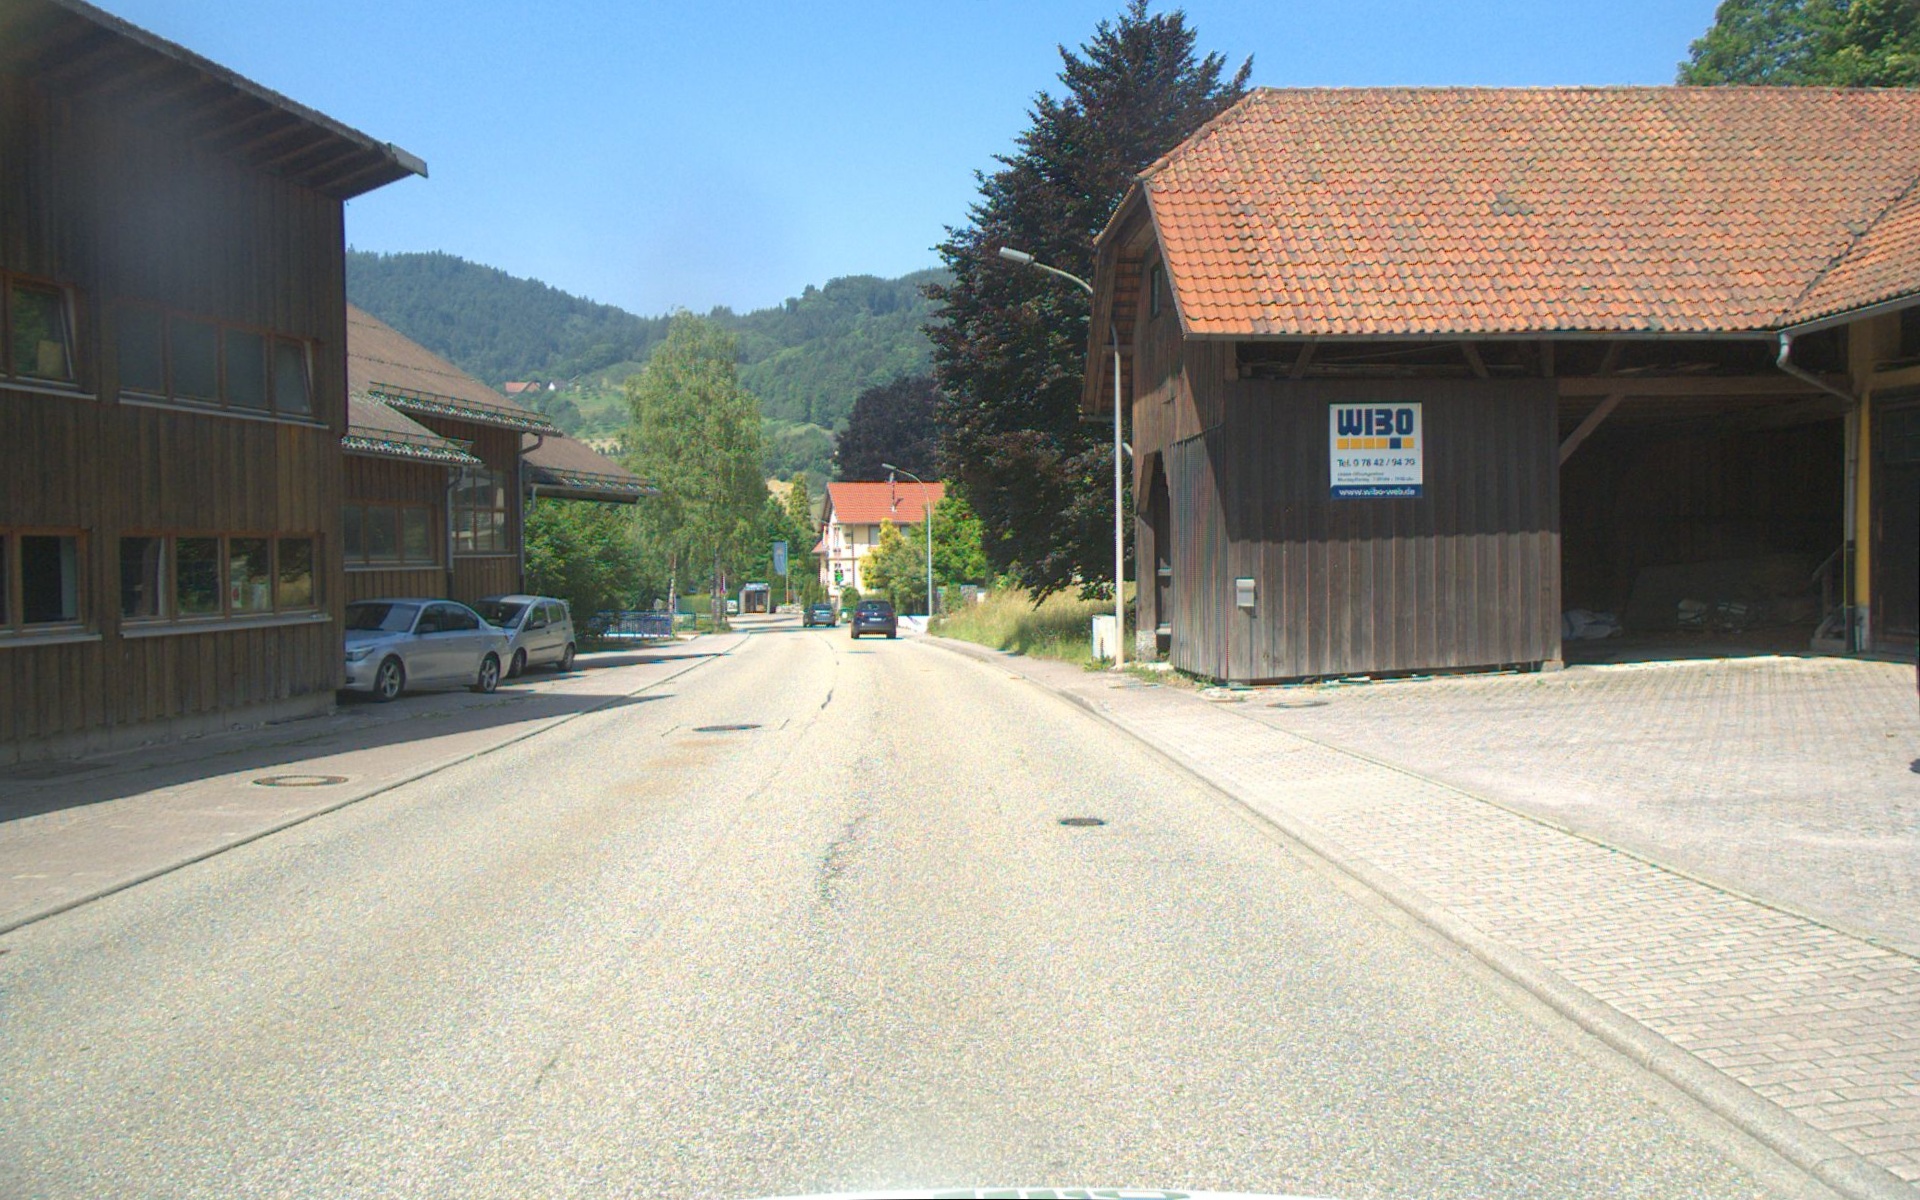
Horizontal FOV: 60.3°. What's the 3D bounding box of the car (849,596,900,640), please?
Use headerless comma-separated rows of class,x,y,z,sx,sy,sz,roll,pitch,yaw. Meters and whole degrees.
car,-3.641,0.737,69.874,1.883,1.728,3.782,-2,0,-7

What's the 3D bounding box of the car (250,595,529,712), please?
car,-8.353,0.715,24.767,1.692,1.479,4.809,-1,1,12

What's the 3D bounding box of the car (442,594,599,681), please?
car,-9.009,0.722,34.216,1.547,1.597,4.026,2,1,10

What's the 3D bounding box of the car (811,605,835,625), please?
car,-8.845,0.966,106.486,1.448,1.230,2.381,-2,0,-6

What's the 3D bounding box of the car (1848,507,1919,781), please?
car,8.555,0.226,11.191,4.046,1.864,1.952,-2,0,-5
